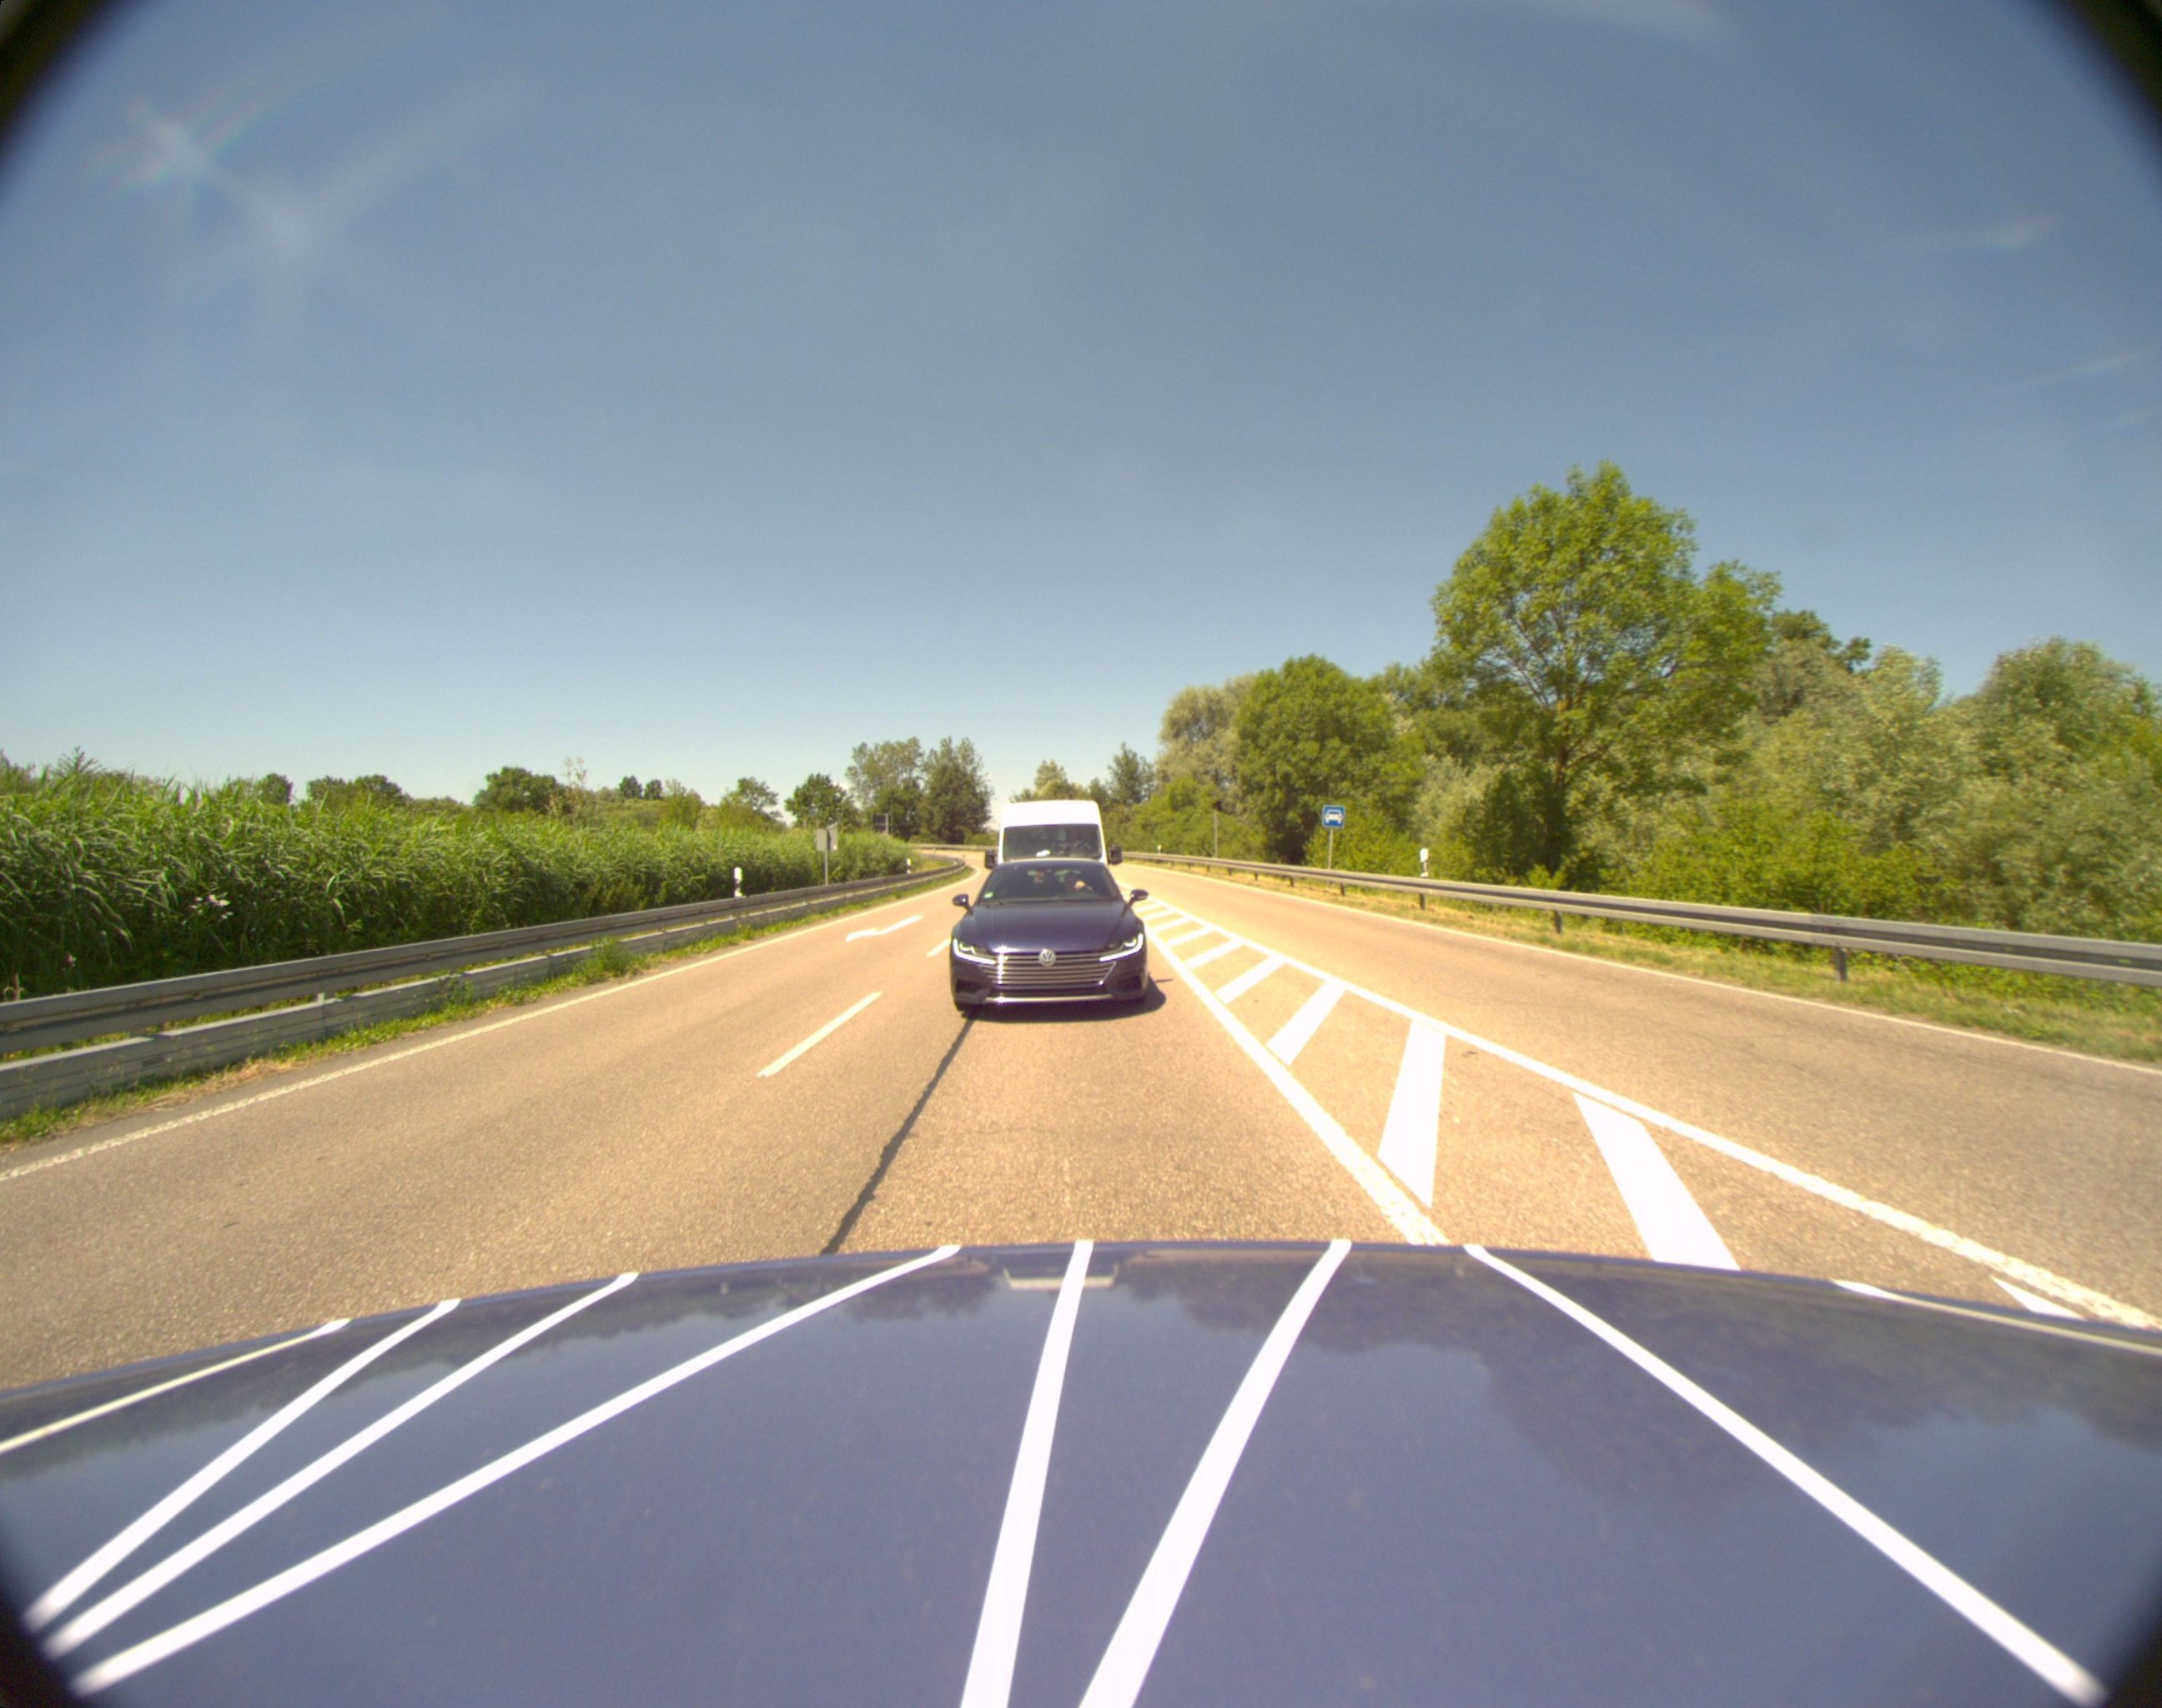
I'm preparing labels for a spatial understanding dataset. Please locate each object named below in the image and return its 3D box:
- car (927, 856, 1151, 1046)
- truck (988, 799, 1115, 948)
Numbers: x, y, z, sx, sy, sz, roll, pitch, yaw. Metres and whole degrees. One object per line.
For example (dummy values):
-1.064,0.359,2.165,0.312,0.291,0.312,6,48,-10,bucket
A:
-0.328,0.815,8.528,1.819,1.454,4.414,-2,1,0,car
-0.666,0.276,15.324,2.011,2.365,5.909,-2,1,-4,truck
